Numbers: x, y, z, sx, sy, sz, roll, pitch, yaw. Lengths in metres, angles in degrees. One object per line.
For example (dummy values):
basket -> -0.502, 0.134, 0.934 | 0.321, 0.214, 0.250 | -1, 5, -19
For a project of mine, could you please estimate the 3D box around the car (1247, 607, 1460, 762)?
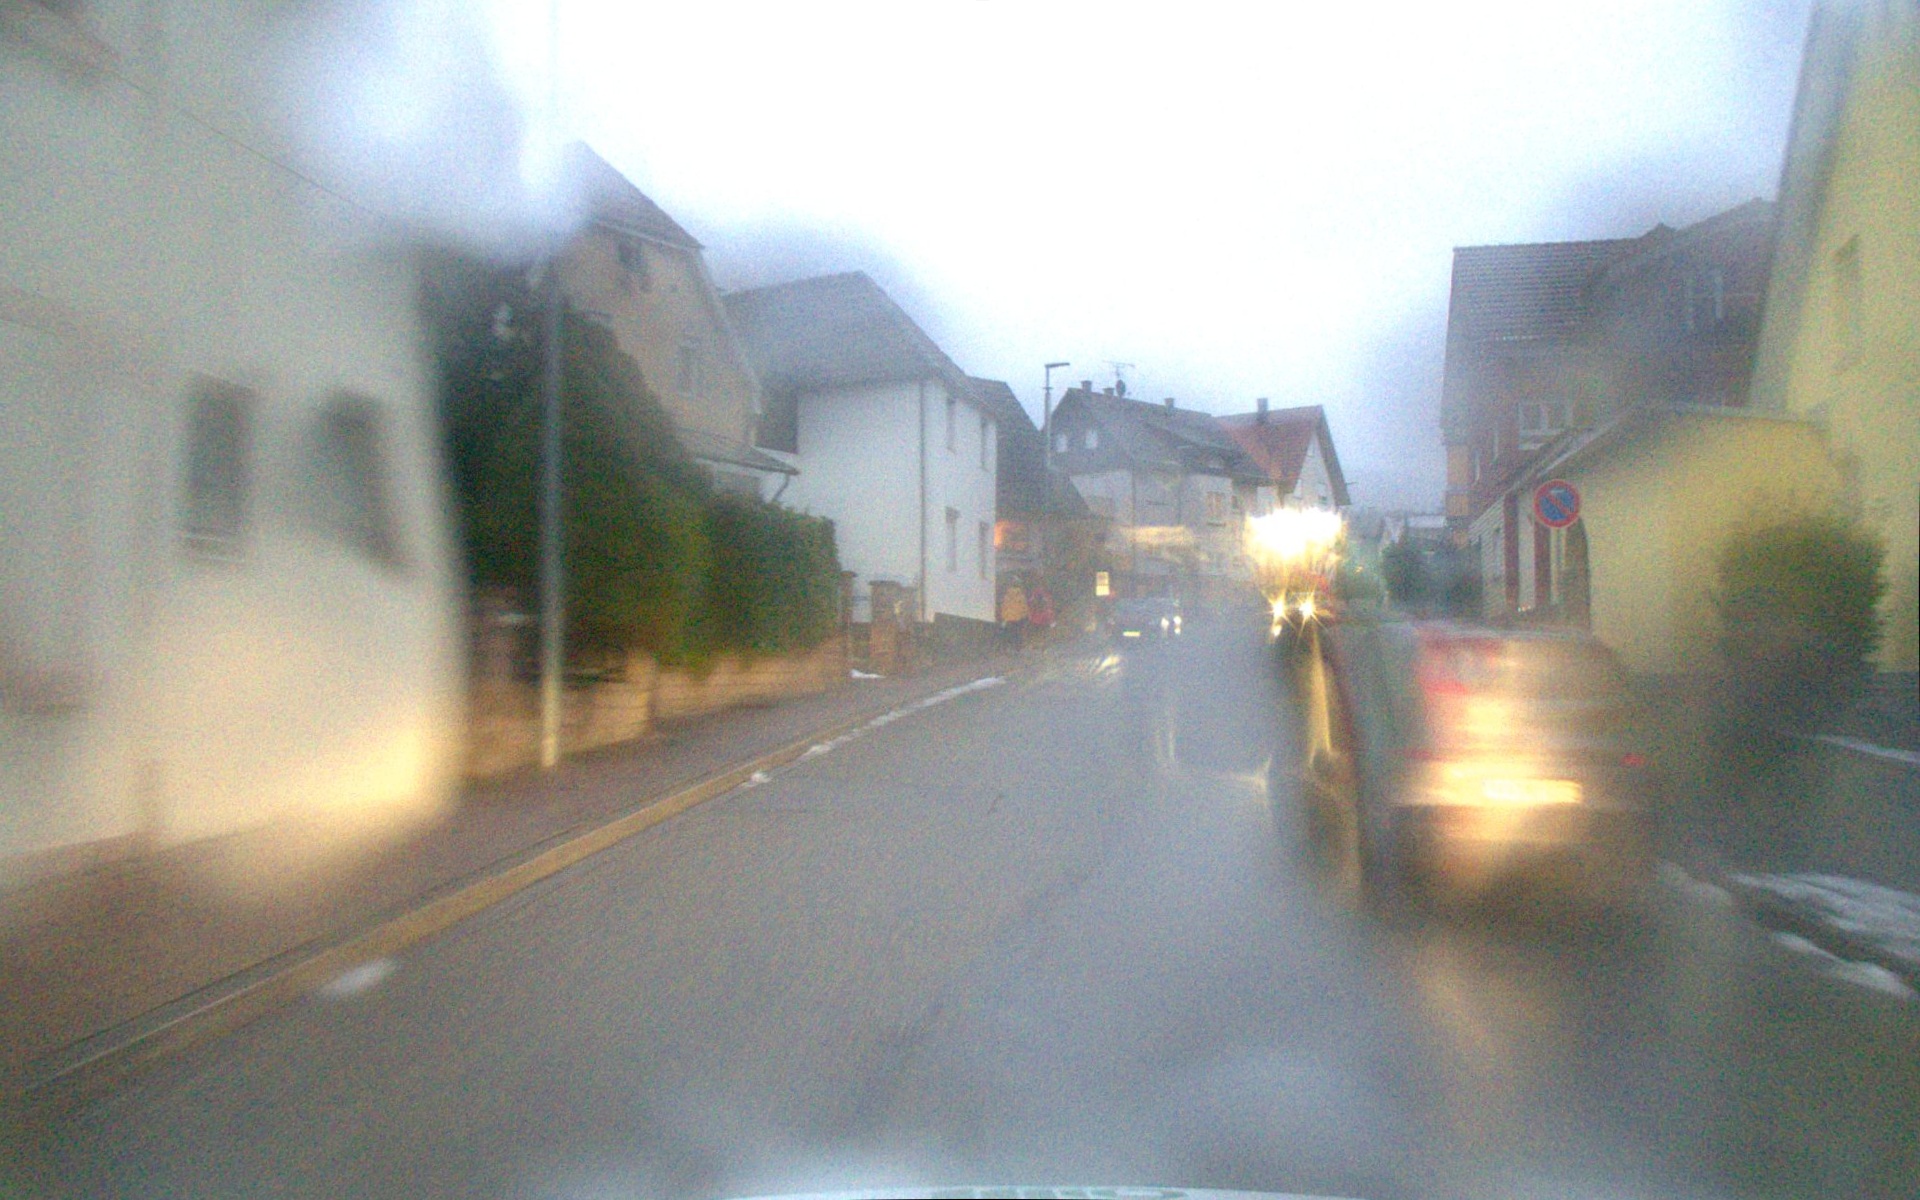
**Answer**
car -> 4.126, 0.807, 18.017 | 1.689, 1.457, 4.801 | 0, 0, 6

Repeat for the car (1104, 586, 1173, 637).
car -> 5.557, 0.330, 51.079 | 1.784, 1.466, 4.071 | 0, 1, 11

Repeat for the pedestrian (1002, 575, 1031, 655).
pedestrian -> 1.377, 0.363, 39.942 | 0.585, 1.902, 0.813 | 0, -1, 10

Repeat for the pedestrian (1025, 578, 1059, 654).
pedestrian -> 1.976, 0.394, 39.825 | 0.691, 1.810, 0.813 | 0, -1, 11

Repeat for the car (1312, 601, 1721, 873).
car -> 3.508, 0.751, 11.305 | 1.752, 1.465, 4.626 | 0, 0, 7

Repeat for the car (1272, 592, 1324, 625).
car -> 16.840, 0.413, 82.239 | 1.722, 1.608, 3.998 | 0, 0, 24
